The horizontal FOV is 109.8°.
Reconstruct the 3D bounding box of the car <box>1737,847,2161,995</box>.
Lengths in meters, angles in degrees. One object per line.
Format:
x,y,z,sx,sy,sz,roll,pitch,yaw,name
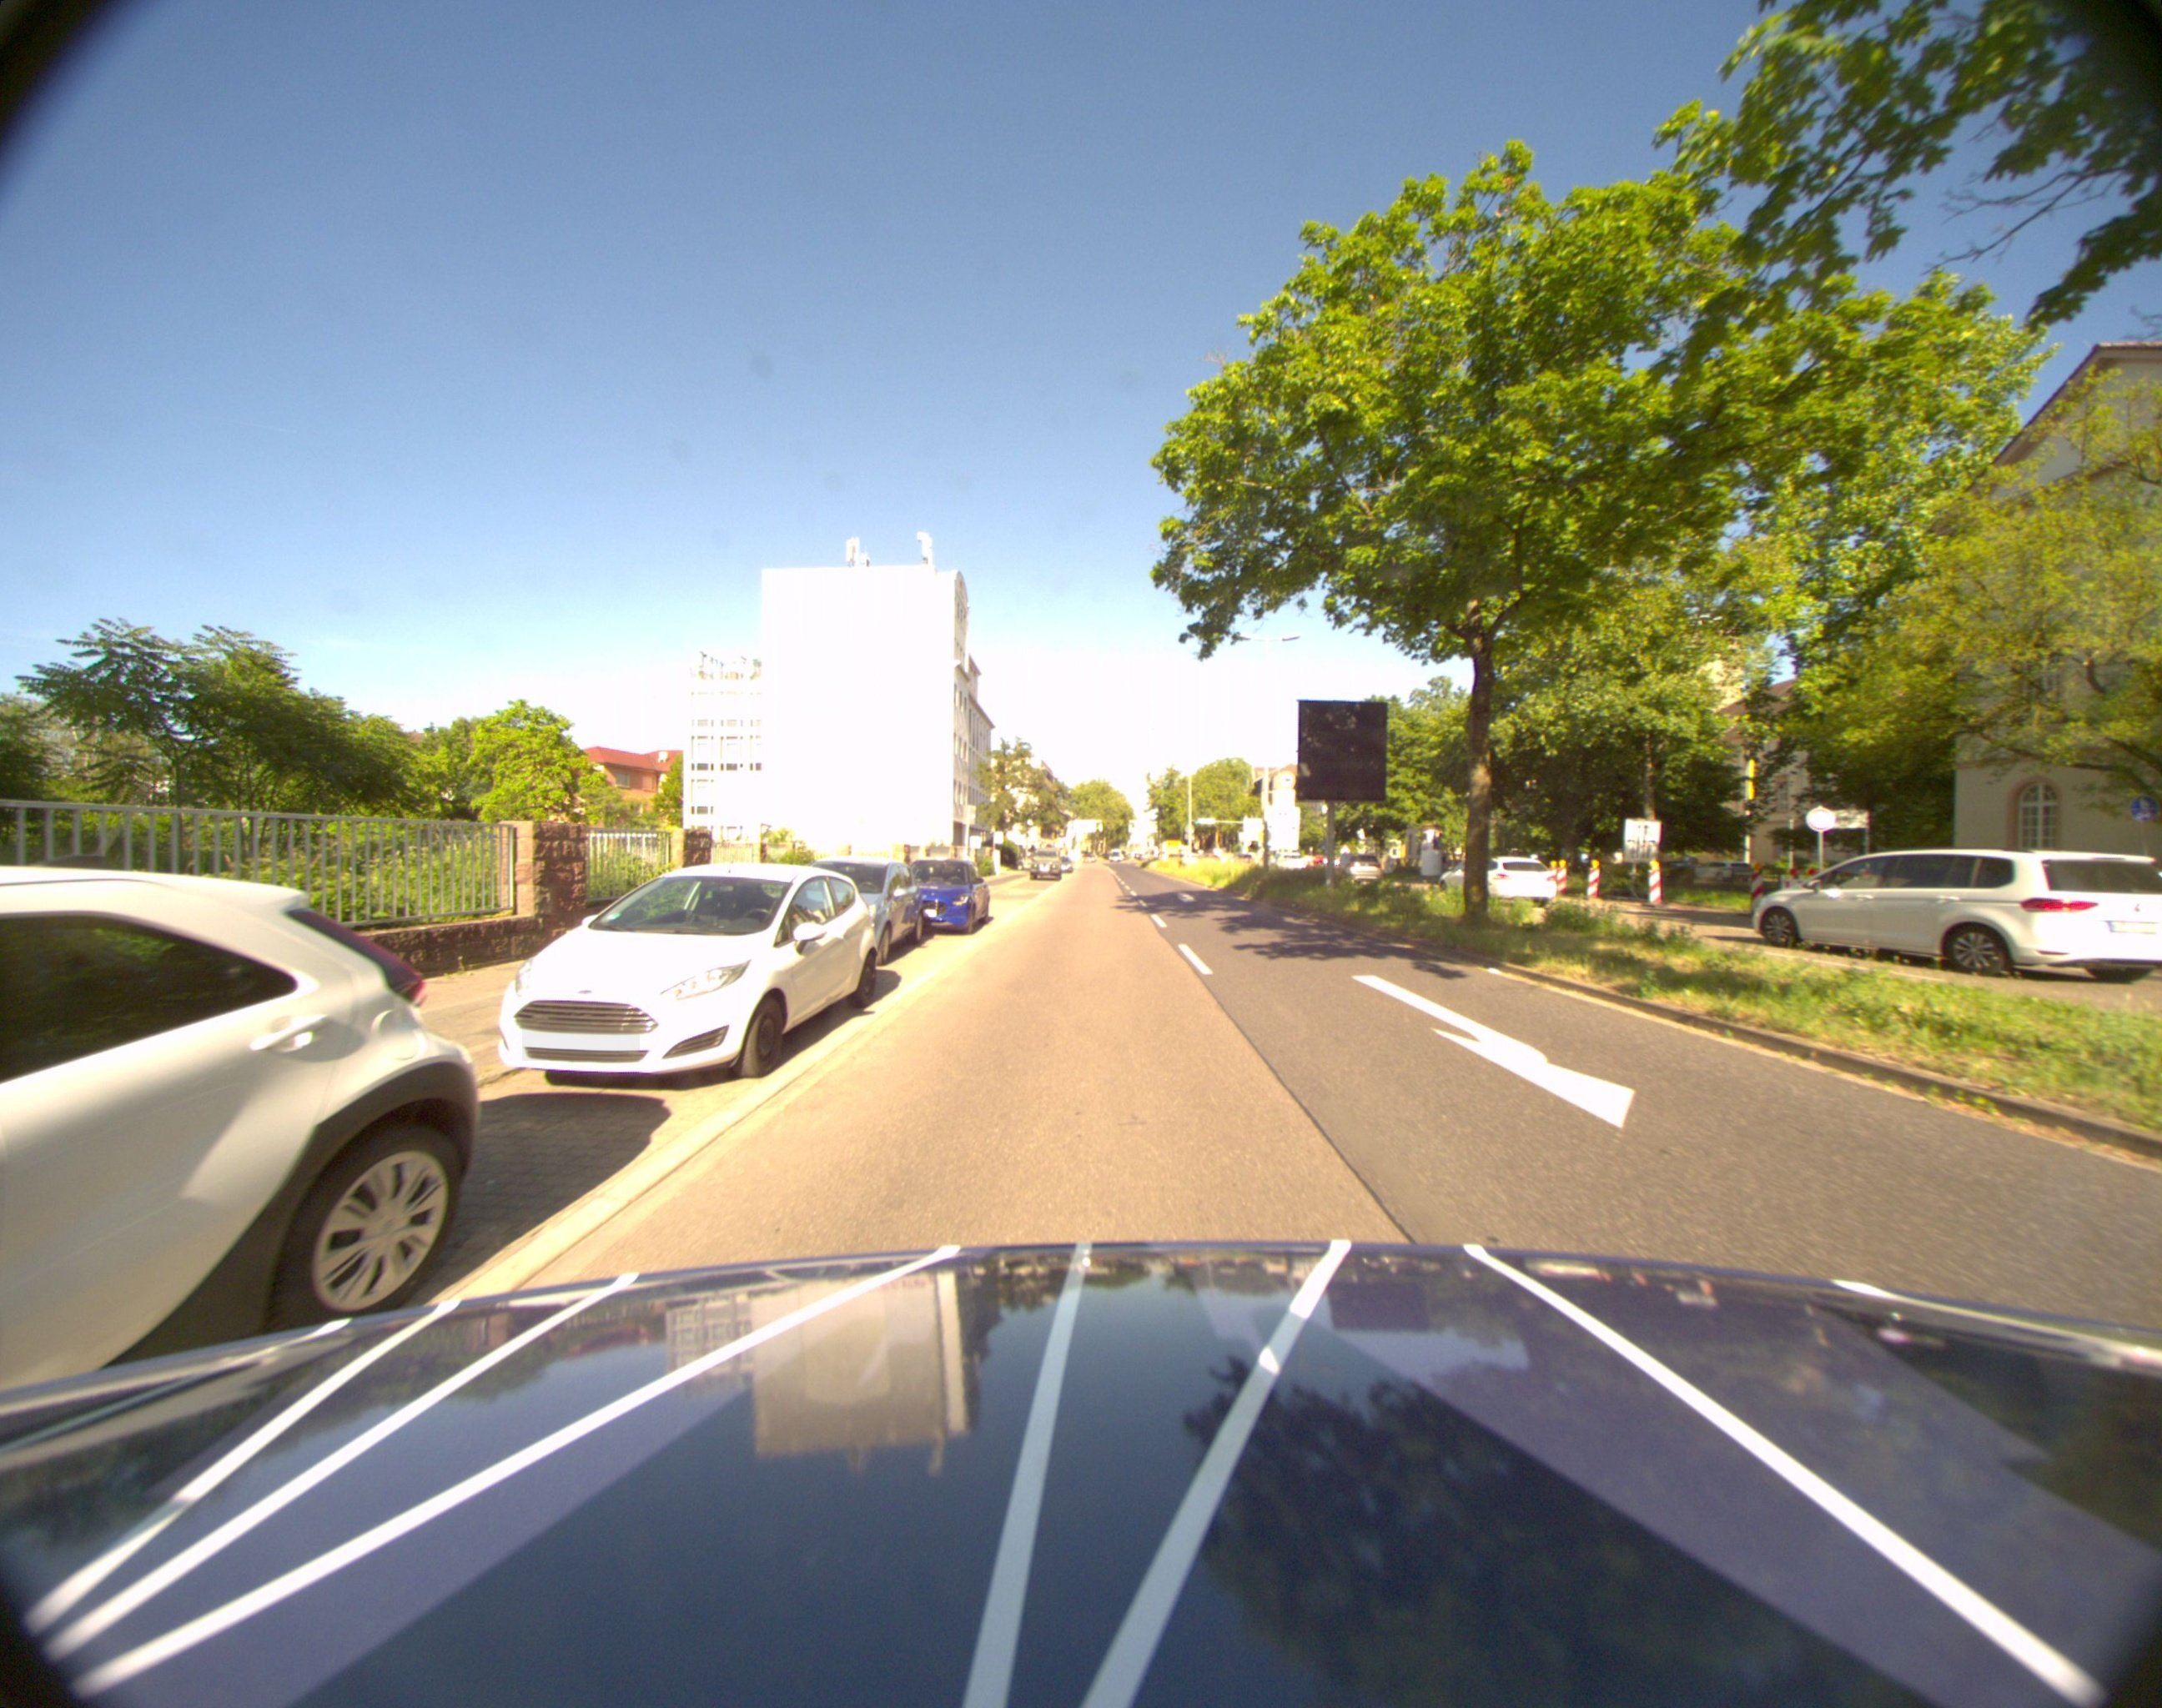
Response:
12.050,0.727,10.682,1.905,1.616,4.538,1,1,4,car

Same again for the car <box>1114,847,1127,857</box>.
7.189,-0.356,136.918,1.882,1.511,4.000,-1,4,8,car

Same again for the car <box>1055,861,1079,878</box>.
-1.206,1.387,66.868,1.641,1.439,4.158,0,-1,5,car

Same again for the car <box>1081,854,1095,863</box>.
1.208,0.741,134.929,1.882,1.510,4.002,-1,1,8,car

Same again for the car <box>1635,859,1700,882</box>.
35.712,0.990,46.366,1.768,1.316,3.504,1,1,12,car

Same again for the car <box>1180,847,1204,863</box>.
10.788,0.111,74.035,1.800,1.510,4.205,0,1,1,car

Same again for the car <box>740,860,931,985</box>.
-3.506,0.883,11.633,1.672,1.451,3.985,3,0,-2,car

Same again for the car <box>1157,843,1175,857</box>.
12.887,-0.597,115.878,2.239,2.016,5.017,0,1,1,car

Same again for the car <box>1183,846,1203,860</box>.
14.552,-0.193,98.898,1.800,1.733,5.031,0,1,1,car

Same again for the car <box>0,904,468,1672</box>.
-3.075,0.952,0.971,1.672,1.510,3.660,0,0,-1,car

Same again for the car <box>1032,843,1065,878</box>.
-1.919,0.355,46.723,1.664,2.002,4.776,1,1,1,car

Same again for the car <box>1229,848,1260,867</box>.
14.031,0.263,65.535,1.800,1.510,4.444,0,1,1,car

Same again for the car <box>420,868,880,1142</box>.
-3.011,0.915,6.270,1.612,1.437,3.658,3,0,1,car

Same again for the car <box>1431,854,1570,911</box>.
12.676,0.790,23.340,1.843,1.510,4.667,0,0,3,car

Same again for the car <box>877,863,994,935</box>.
-2.928,0.859,16.077,1.672,1.176,3.900,3,0,0,car

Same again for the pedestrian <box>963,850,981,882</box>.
-5.538,0.607,38.627,0.745,1.574,0.897,-1,1,2,pedestrian

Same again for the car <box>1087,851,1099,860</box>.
2.309,0.233,143.815,1.882,1.511,4.000,-1,4,8,car

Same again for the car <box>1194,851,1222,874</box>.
10.612,0.670,63.704,1.757,1.609,4.321,-1,3,2,car

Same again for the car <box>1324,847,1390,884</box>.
13.369,0.514,37.064,1.800,1.511,4.257,-1,2,2,car

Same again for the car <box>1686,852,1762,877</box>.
47.254,0.732,55.999,1.646,1.484,4.682,-1,4,1,car
